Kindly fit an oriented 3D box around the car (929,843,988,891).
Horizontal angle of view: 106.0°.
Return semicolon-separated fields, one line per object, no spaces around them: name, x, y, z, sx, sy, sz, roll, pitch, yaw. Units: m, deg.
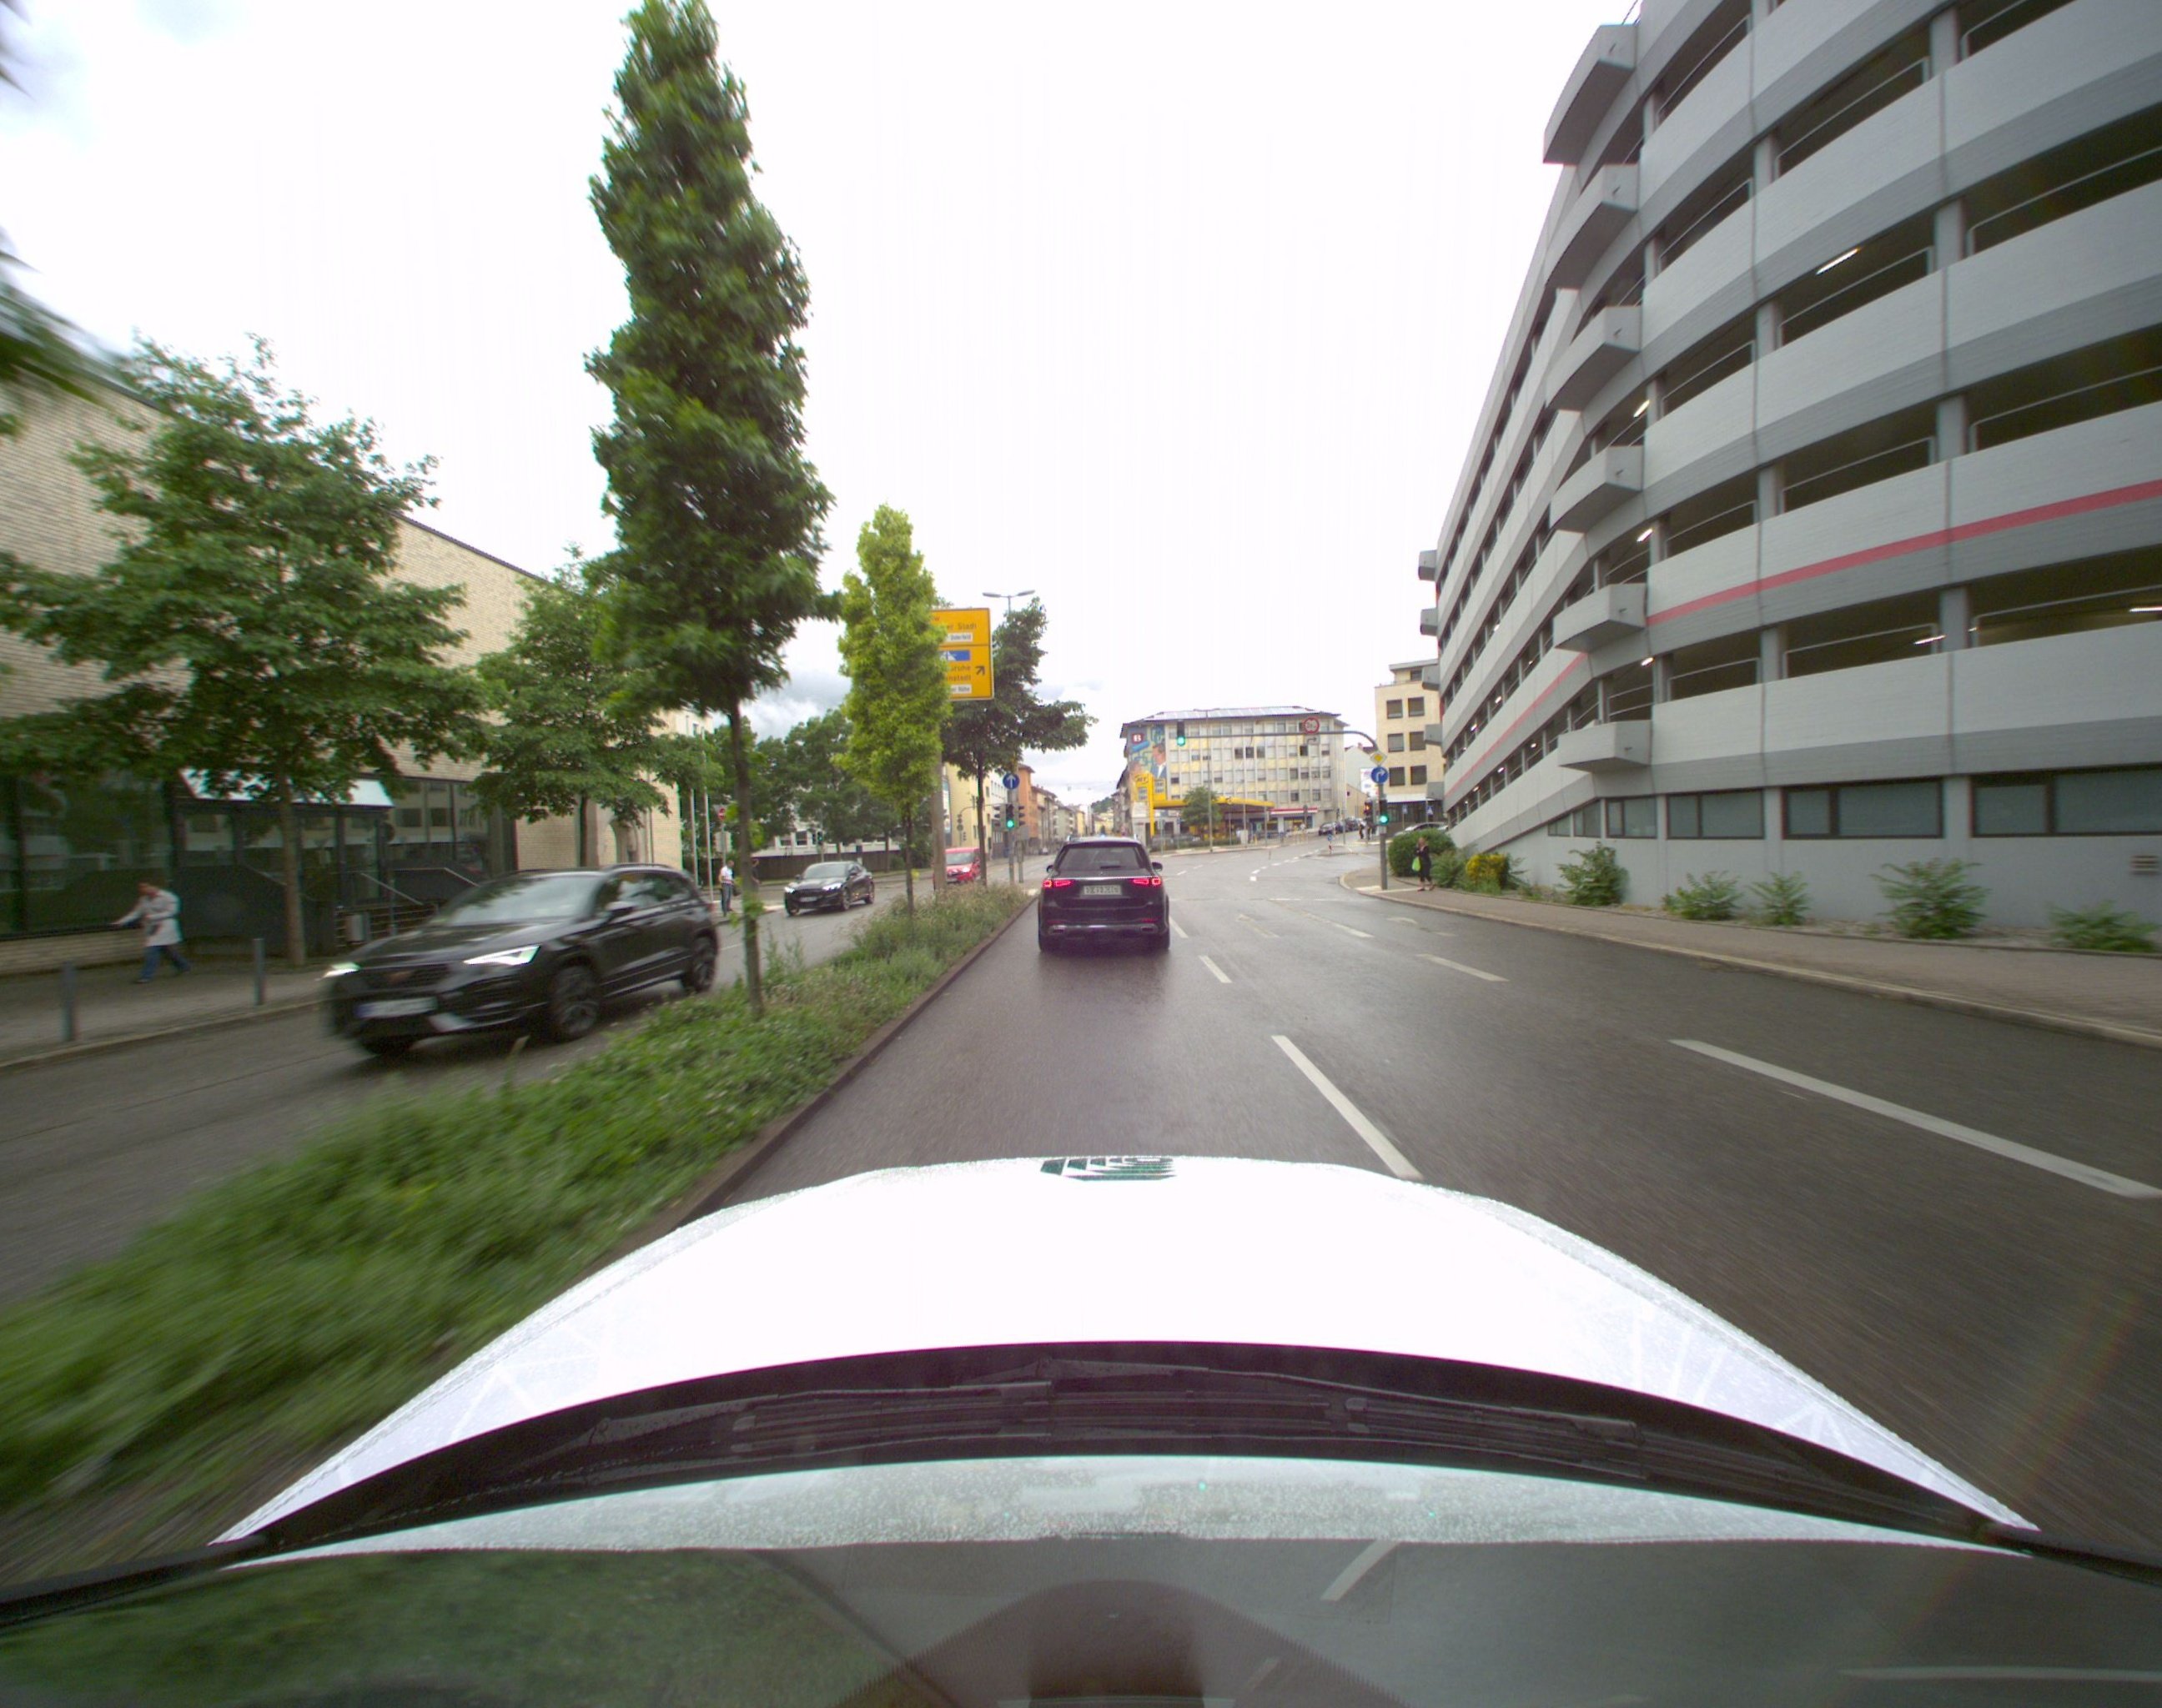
car;-5.387;0.549;36.279;1.787;1.854;4.791;-4;0;0

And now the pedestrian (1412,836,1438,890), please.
pedestrian;11.043;0.297;26.143;0.639;1.710;0.474;-2;-2;38

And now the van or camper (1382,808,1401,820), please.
van or camper;53.834;-6.908;141.264;1.974;1.979;4.543;-3;1;35

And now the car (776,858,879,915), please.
car;-8.290;1.003;27.091;1.882;1.586;4.536;-4;0;0

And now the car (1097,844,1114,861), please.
car;2.882;-0.202;98.349;1.987;2.014;4.000;0;-1;1

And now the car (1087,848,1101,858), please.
car;2.195;-0.097;136.167;1.984;1.547;4.194;0;-1;4

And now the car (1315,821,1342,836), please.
car;30.119;-3.107;99.067;1.974;1.706;4.026;-3;1;35

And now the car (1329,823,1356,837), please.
car;33.172;-3.070;103.261;1.974;1.706;4.026;-3;1;35

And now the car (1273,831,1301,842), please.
car;27.462;-2.292;108.387;1.974;1.398;4.025;-1;-1;40

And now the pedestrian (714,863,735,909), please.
pedestrian;-12.329;1.095;28.165;0.437;1.534;0.545;-3;0;-1

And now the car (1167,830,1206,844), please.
car;11.540;-1.866;89.383;1.747;1.376;3.952;-3;1;-42

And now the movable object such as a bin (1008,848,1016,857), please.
movable object such as a bin;-8.654;-0.182;102.480;0.906;1.038;0.844;0;-1;2

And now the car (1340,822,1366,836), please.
car;35.892;-3.263;107.412;1.974;1.706;4.026;-3;1;35

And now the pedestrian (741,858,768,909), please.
pedestrian;-11.571;1.048;28.893;0.687;1.757;0.716;-2;0;-9

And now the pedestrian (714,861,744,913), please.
pedestrian;-11.598;1.072;26.833;0.609;1.656;0.691;-3;0;-1

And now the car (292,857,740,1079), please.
car;-5.421;0.923;8.660;1.727;1.625;4.230;-4;0;-1

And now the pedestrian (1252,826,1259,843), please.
pedestrian;17.291;-1.949;80.741;0.570;1.697;0.631;0;-1;3

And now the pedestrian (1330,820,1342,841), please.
pedestrian;26.197;-2.377;83.739;0.853;2.128;0.947;-3;0;-4

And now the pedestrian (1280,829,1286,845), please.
pedestrian;18.372;-1.539;74.087;0.394;1.400;0.447;0;-1;3

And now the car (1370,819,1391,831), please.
car;46.819;-4.586;127.249;1.974;1.706;4.026;-3;1;35

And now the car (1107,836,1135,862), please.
car;2.934;-0.331;60.691;1.986;1.800;4.001;0;-1;2

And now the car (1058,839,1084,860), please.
car;-0.827;-0.363;68.669;1.986;1.614;4.190;0;-1;1

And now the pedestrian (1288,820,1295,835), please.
pedestrian;25.160;-3.171;97.330;0.521;1.727;0.693;-2;0;29

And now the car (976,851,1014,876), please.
car;-5.602;0.586;53.369;1.840;1.429;4.436;-4;1;1

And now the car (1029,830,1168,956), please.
car;0.320;0.589;13.678;1.986;1.800;4.001;0;-1;2

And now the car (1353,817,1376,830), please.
car;39.126;-4.235;112.359;1.974;1.706;4.026;-3;1;35

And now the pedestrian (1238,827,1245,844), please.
pedestrian;16.254;-1.903;82.429;0.521;1.727;0.693;-2;0;29

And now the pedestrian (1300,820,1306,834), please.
pedestrian;26.532;-3.171;97.336;0.478;1.641;0.441;-1;-1;30

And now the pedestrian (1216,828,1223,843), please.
pedestrian;16.438;-2.219;96.428;0.521;1.727;0.693;-2;0;31

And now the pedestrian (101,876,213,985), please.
pedestrian;-14.849;1.198;13.122;0.641;1.666;1.017;0;-1;-4
